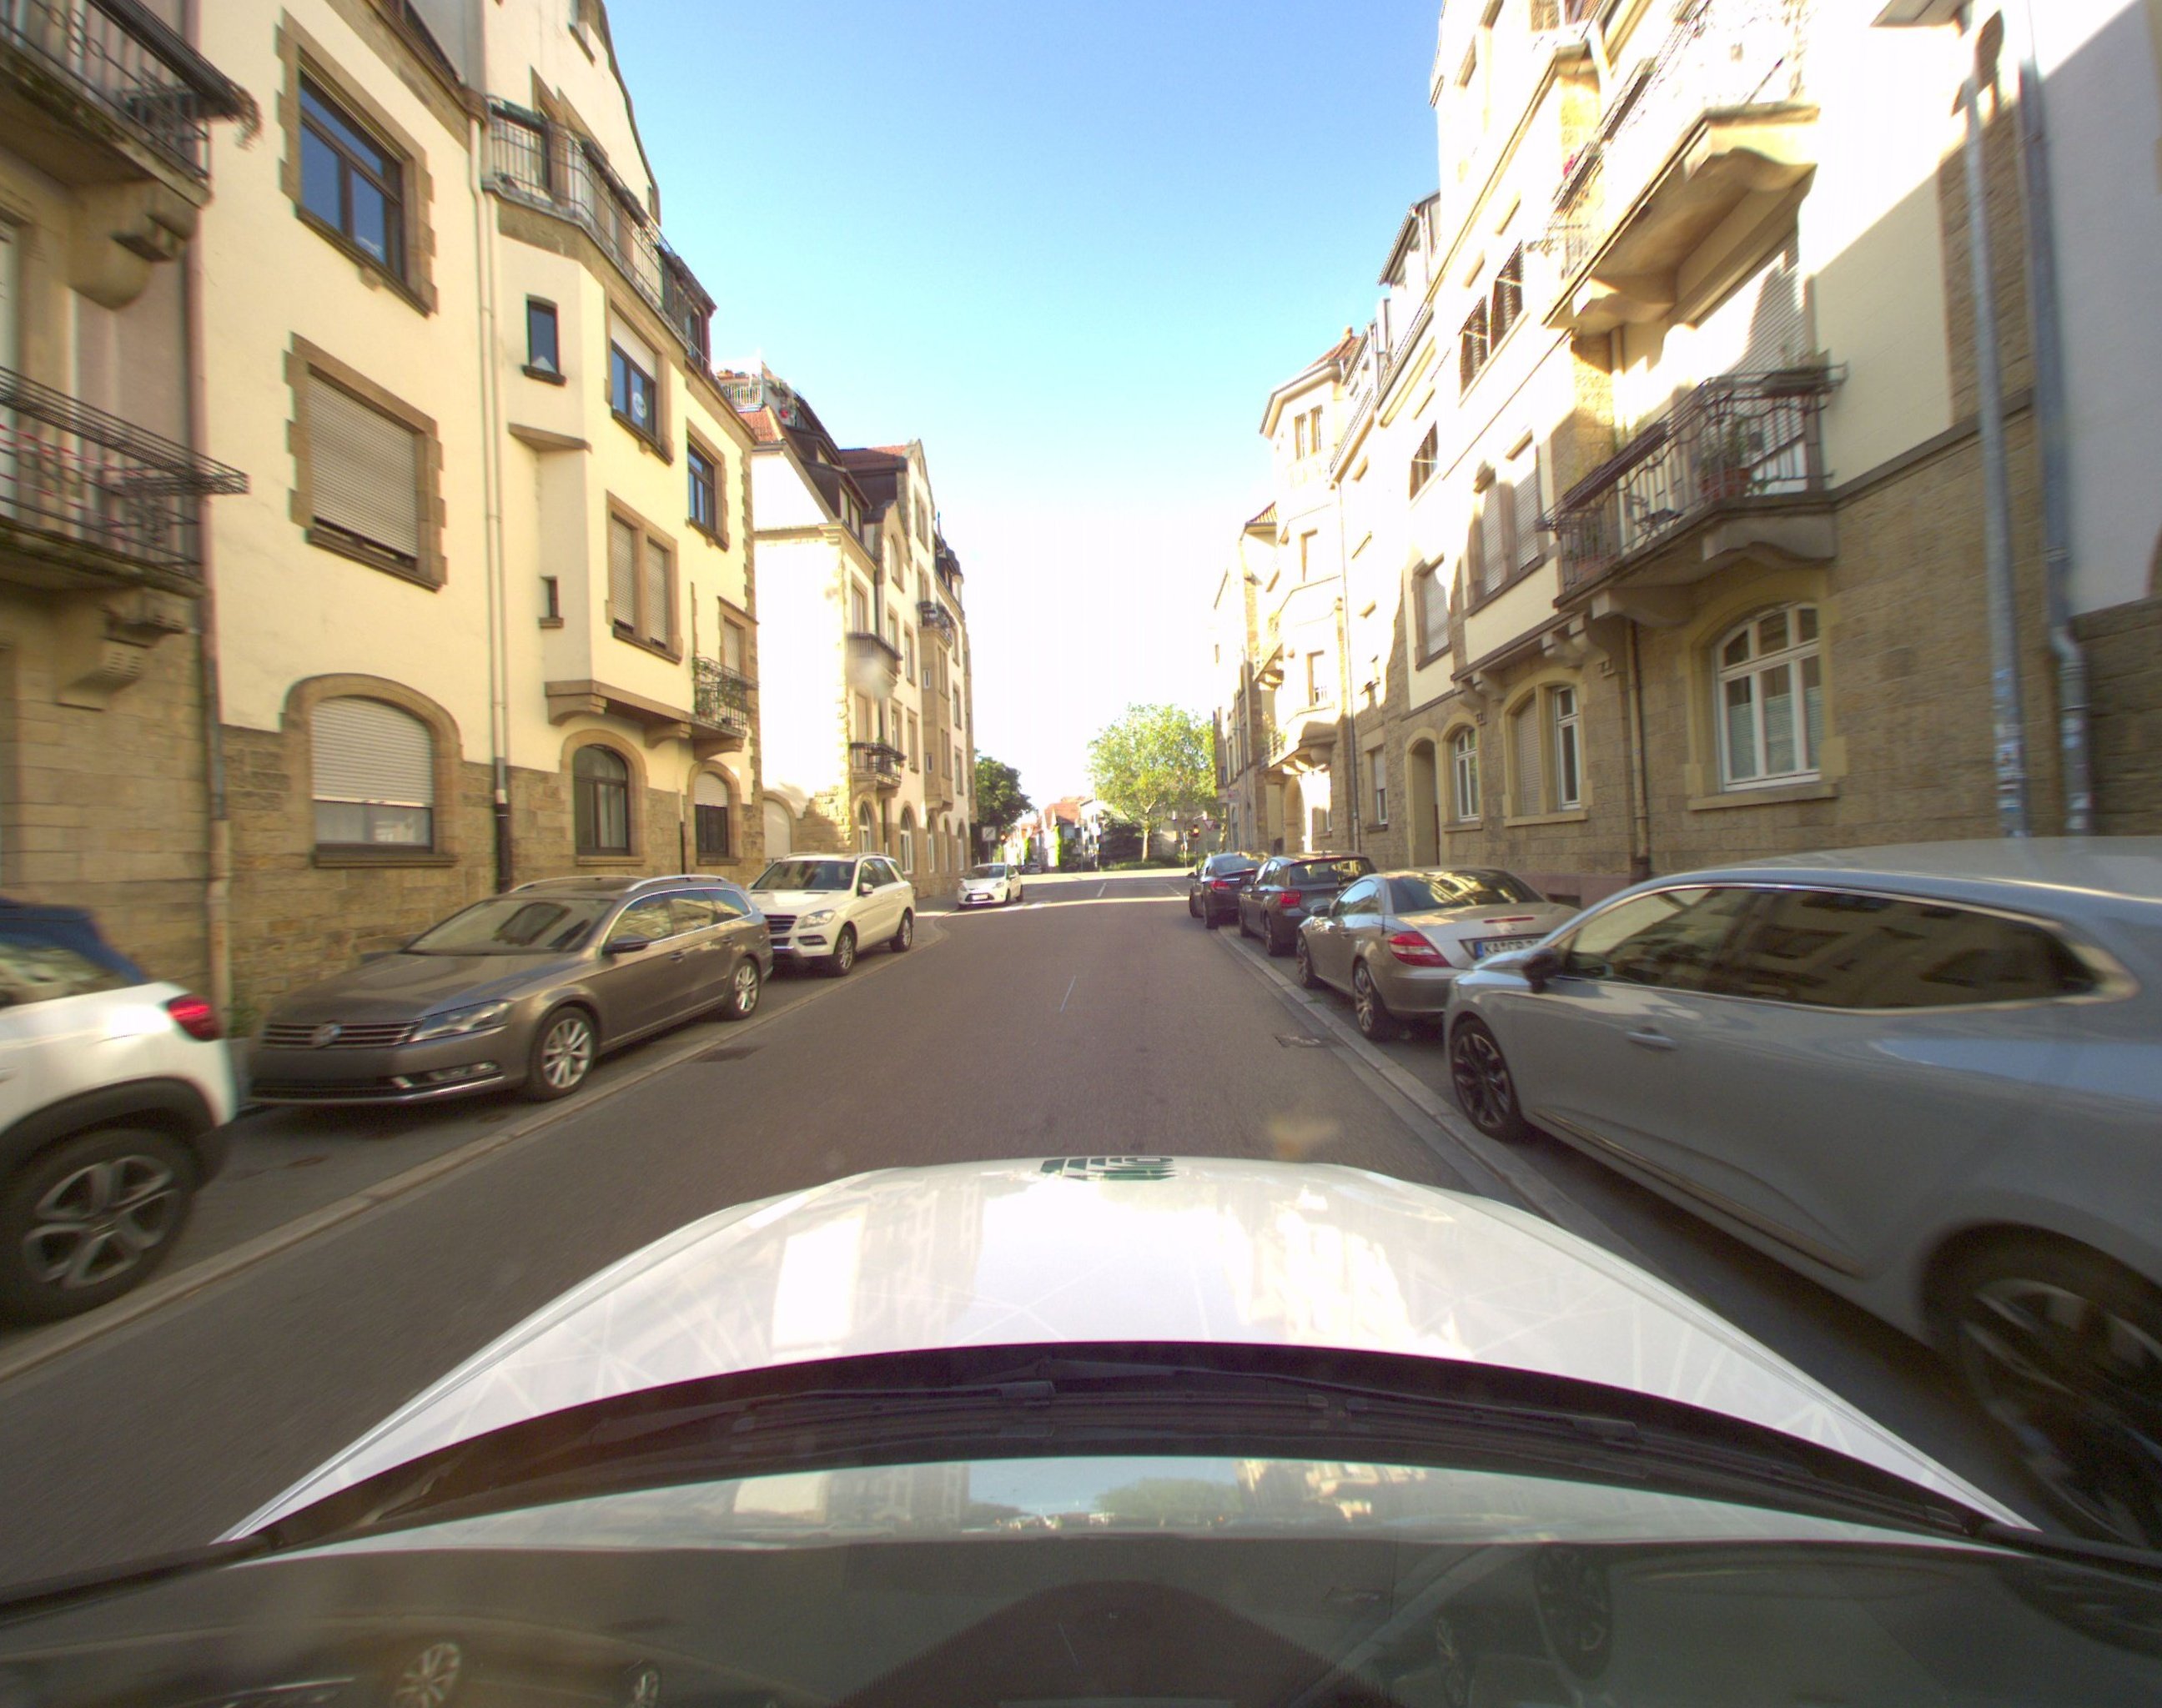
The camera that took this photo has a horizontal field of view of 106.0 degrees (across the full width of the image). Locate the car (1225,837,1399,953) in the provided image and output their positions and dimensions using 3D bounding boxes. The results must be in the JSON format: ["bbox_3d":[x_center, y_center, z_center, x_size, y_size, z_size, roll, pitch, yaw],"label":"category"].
[{"bbox_3d":[3.453,0.546,12.958,1.645,1.442,4.261,-3,0,2],"label":"car"}]

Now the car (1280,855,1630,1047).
[{"bbox_3d":[3.099,0.688,7.689,1.685,1.254,3.946,-3,0,4],"label":"car"}]

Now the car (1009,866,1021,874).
[{"bbox_3d":[-11.430,2.739,140.145,1.737,1.336,3.822,-3,0,-9],"label":"car"}]

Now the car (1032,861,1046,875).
[{"bbox_3d":[-6.800,2.250,131.406,1.990,2.013,3.993,-3,0,-5],"label":"car"}]

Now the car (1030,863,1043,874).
[{"bbox_3d":[-6.175,2.055,112.782,1.670,1.483,3.517,-2,-1,-3],"label":"car"}]

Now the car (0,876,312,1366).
[{"bbox_3d":[-4.467,0.903,1.757,1.708,1.583,4.022,1,0,1],"label":"car"}]

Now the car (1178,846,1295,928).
[{"bbox_3d":[3.233,0.634,17.796,1.858,1.462,4.342,-3,0,3],"label":"car"}]

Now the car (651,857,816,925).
[{"bbox_3d":[-10.192,1.053,24.104,3.953,1.728,1.910,-3,0,2],"label":"car"}]

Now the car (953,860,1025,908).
[{"bbox_3d":[-3.083,0.984,27.977,1.626,1.464,3.740,-2,0,6],"label":"car"}]

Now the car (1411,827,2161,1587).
[{"bbox_3d":[2.928,0.658,3.058,1.780,1.429,3.806,-2,0,0],"label":"car"}]

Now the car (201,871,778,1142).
[{"bbox_3d":[-4.295,0.949,6.933,1.567,1.487,4.284,-1,0,4],"label":"car"}]

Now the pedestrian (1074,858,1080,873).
[{"bbox_3d":[-0.505,1.343,96.340,0.631,1.750,0.659,-2,-1,0],"label":"pedestrian"}]

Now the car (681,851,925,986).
[{"bbox_3d":[-4.047,0.851,12.864,1.883,1.722,4.731,0,-1,4],"label":"car"}]
